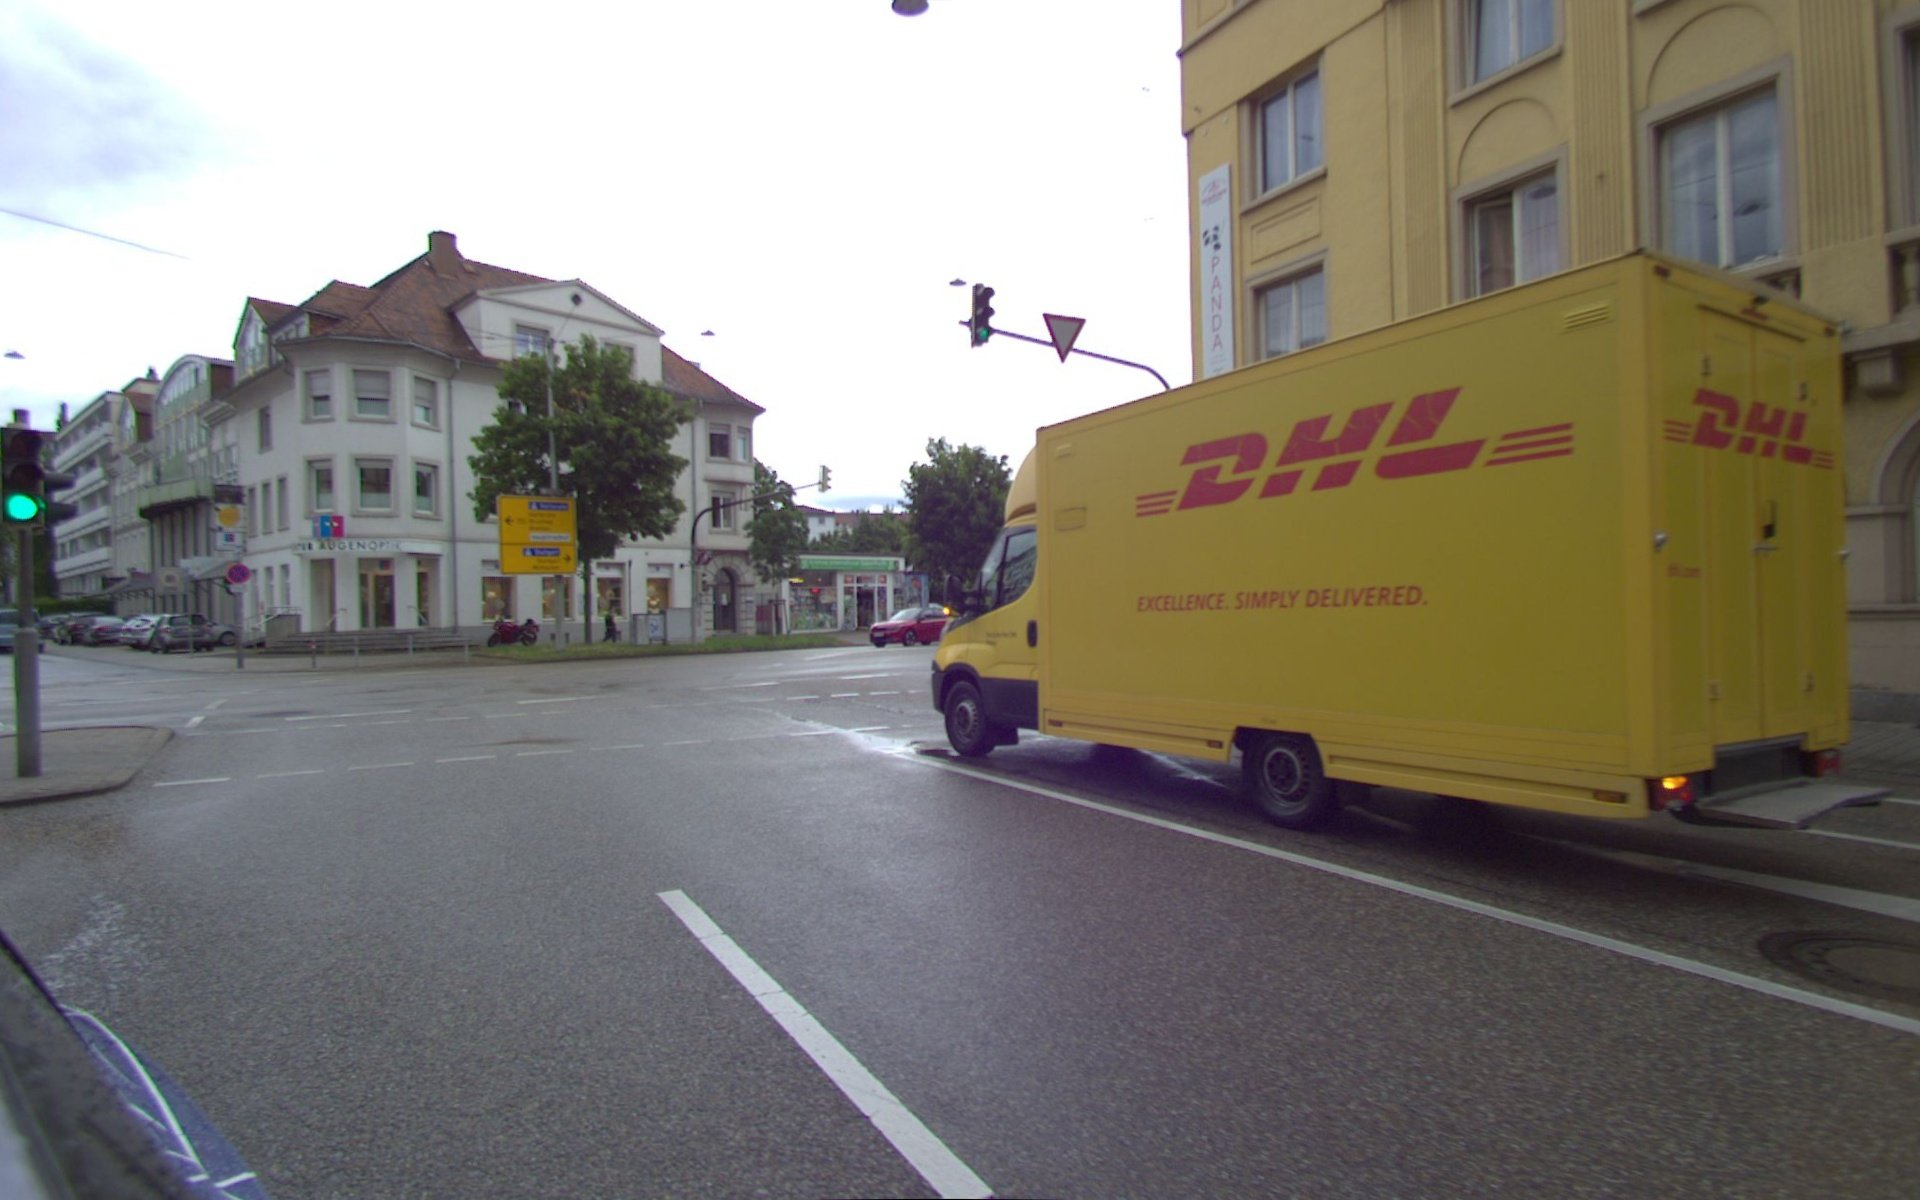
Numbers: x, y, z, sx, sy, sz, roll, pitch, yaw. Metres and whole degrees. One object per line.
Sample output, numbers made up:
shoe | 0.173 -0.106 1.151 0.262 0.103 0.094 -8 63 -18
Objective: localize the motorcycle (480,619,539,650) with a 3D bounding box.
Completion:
motorcycle | -17.760 1.342 39.944 0.719 1.157 1.984 -1 0 43

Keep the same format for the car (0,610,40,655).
car | -43.356 1.461 45.935 3.999 1.929 1.972 -1 0 42

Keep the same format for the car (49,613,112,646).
car | -45.626 1.494 52.467 3.999 1.597 1.972 -1 0 42

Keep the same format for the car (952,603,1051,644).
car | 1.770 0.951 42.095 2.024 1.596 3.983 -1 0 42

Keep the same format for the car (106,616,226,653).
car | -35.726 1.531 45.585 1.998 1.519 3.947 -1 0 39

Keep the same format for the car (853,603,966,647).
car | -1.851 0.893 38.041 2.024 1.529 3.983 -1 0 42

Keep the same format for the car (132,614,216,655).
car | -31.424 1.330 40.419 3.999 1.519 1.972 -1 0 42

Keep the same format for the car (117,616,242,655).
car | -33.782 1.501 43.874 1.998 1.519 3.947 -1 0 39

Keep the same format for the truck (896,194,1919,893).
truck | 2.110 -0.210 7.607 2.197 2.771 7.046 -1 0 -31

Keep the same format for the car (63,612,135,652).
car | -41.376 1.498 48.585 3.999 1.596 1.974 -1 5 42

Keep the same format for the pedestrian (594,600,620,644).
pedestrian | -14.163 0.865 40.619 0.744 1.742 0.683 0 0 -45
